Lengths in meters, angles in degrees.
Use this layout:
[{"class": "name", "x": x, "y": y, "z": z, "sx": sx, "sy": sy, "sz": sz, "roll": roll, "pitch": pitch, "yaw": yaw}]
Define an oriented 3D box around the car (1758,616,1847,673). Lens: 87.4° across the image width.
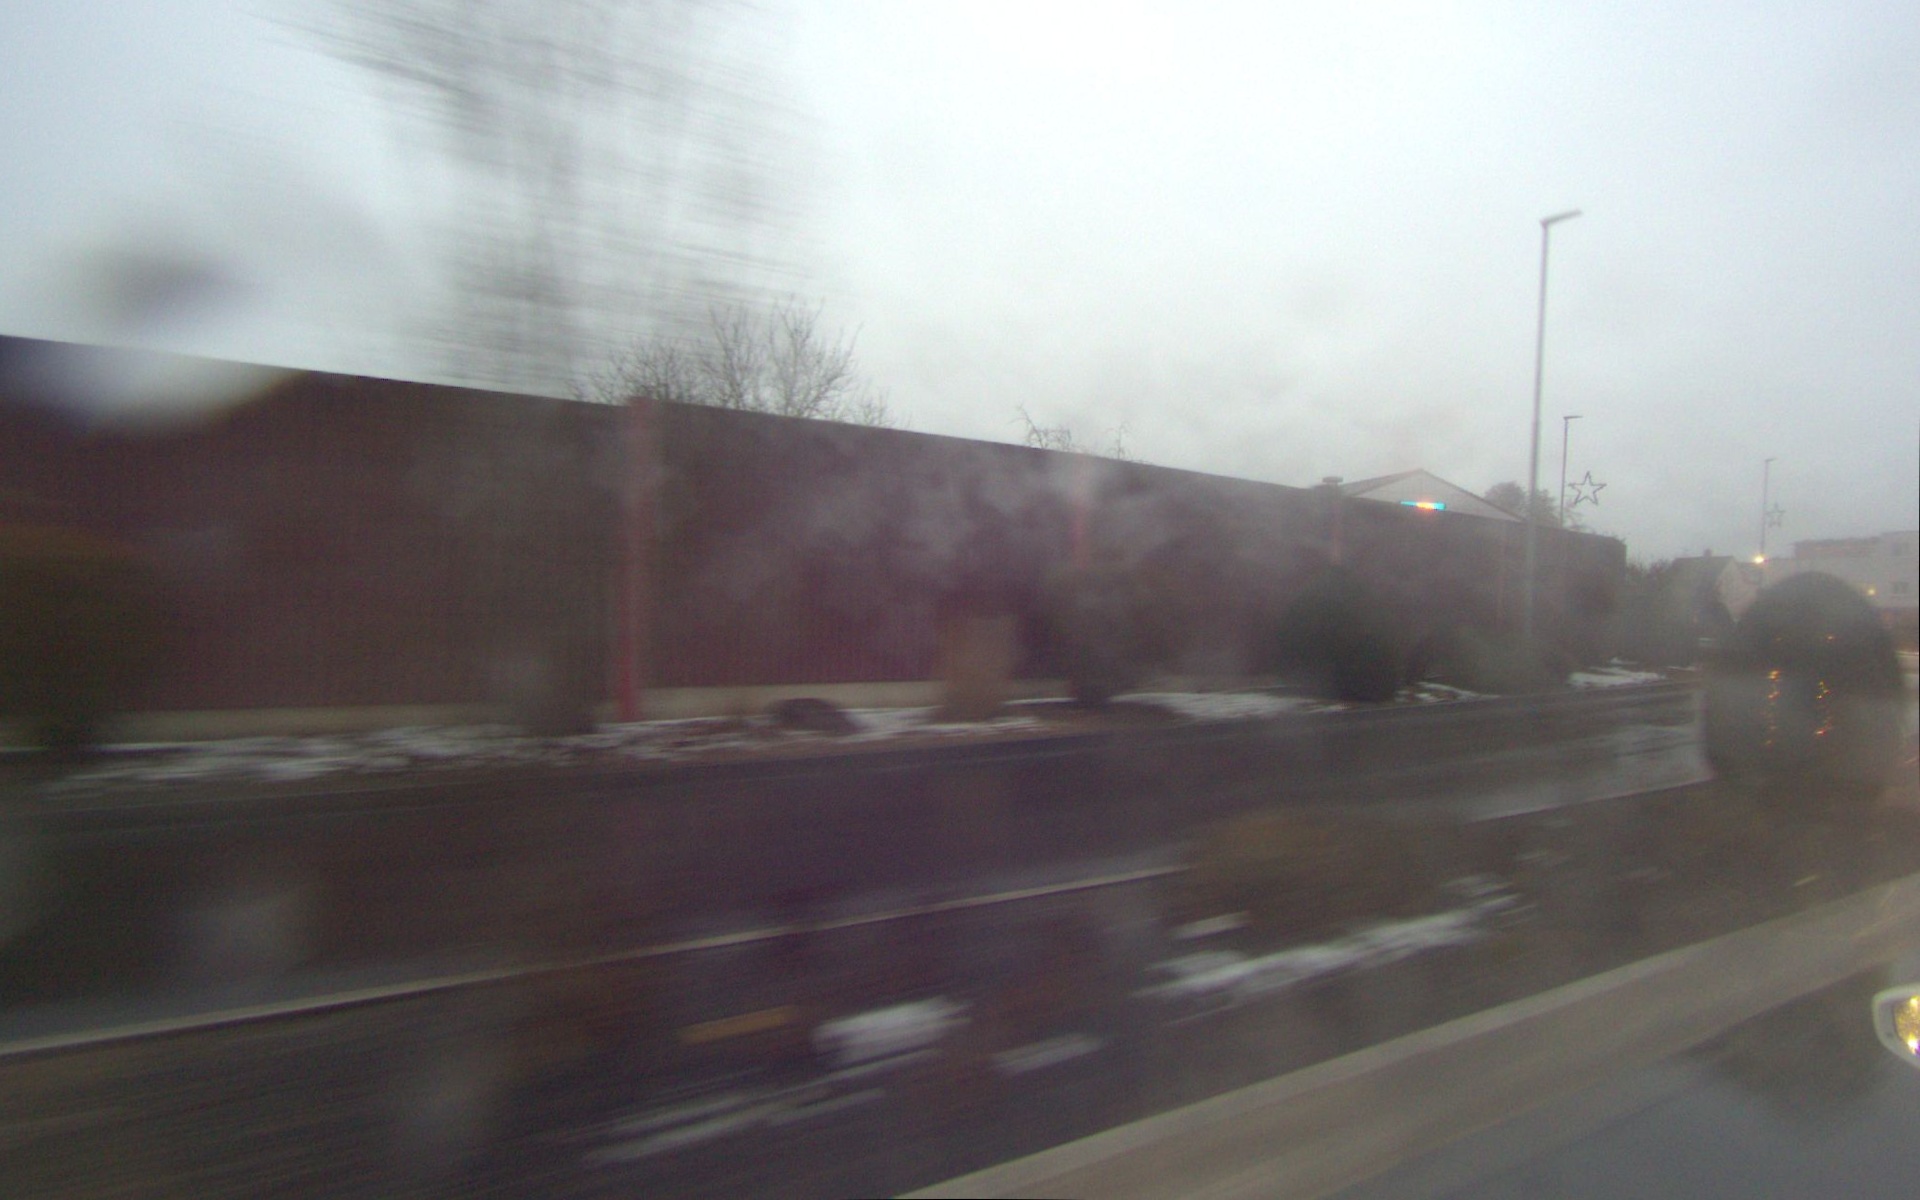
[{"class": "car", "x": 24.469, "y": 1.234, "z": 29.279, "sx": 1.585, "sy": 1.489, "sz": 3.674, "roll": 2, "pitch": 0, "yaw": 34}]
